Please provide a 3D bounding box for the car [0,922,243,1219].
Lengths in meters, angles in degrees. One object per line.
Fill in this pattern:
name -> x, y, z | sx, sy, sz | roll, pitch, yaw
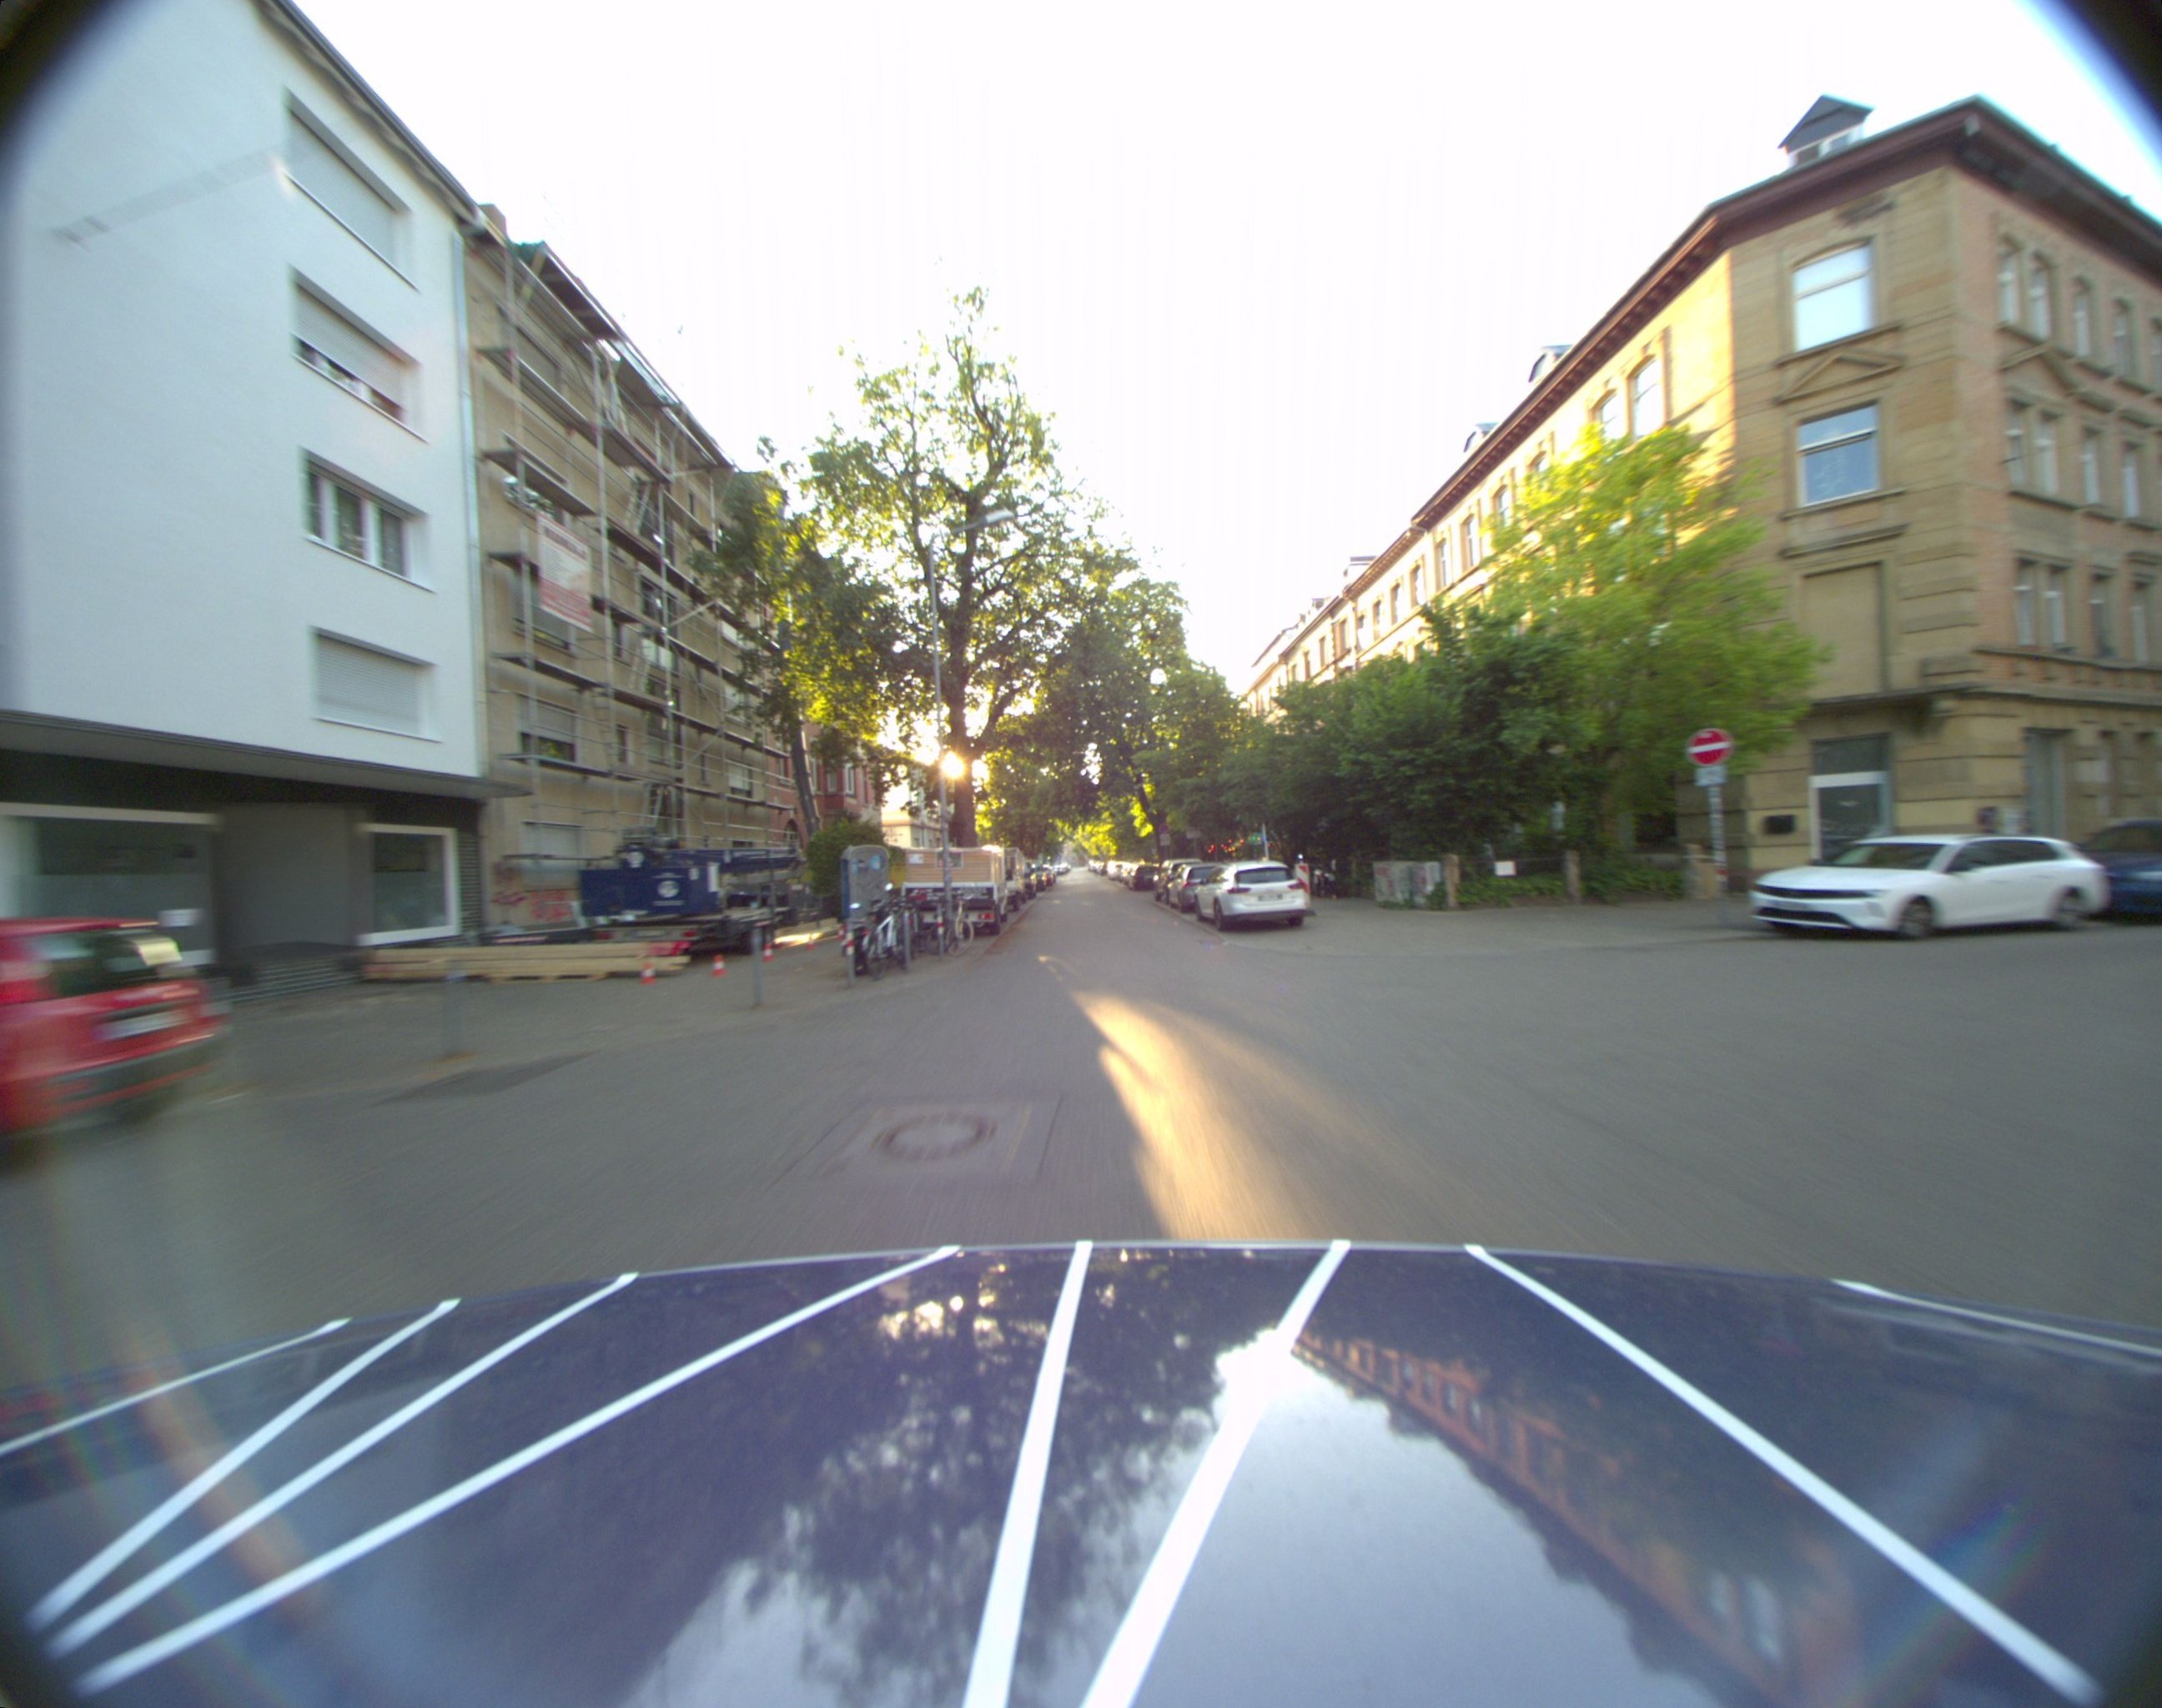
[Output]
car -> -7.782, 1.316, 4.454 | 3.481, 1.563, 1.624 | -2, -2, -19

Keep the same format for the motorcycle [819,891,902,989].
motorcycle -> -3.500, 1.318, 12.242 | 0.503, 1.348, 2.063 | 0, 0, 6

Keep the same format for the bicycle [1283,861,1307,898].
bicycle -> 7.950, 0.932, 28.151 | 0.606, 1.277, 2.489 | -2, 0, 20

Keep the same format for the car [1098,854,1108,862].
car -> 4.416, 0.765, 150.752 | 1.617, 1.433, 4.104 | -4, -1, -2

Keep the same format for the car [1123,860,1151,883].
car -> 3.819, 1.177, 52.231 | 1.607, 1.427, 3.886 | -5, -1, 1

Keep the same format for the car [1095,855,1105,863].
car -> 3.573, 1.030, 144.998 | 1.617, 1.433, 4.104 | -4, -1, -2

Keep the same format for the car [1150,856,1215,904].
car -> 3.737, 0.939, 28.740 | 1.694, 1.554, 4.402 | -5, -1, -1

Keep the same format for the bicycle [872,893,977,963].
bicycle -> -2.935, 1.384, 14.329 | 1.908, 1.251, 0.407 | 0, 0, -6

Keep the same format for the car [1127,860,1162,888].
car -> 3.604, 1.142, 43.444 | 1.555, 1.476, 3.694 | -2, -1, -2

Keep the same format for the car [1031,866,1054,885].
car -> -2.995, 1.648, 58.703 | 1.669, 1.491, 3.693 | 0, -1, -3

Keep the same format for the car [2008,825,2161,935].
car -> 17.534, 0.327, 12.156 | 4.107, 1.543, 1.707 | -2, 2, -11

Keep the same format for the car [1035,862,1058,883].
car -> -2.886, 1.533, 63.402 | 1.669, 1.668, 4.118 | 0, -1, -6

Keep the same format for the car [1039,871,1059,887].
car -> -3.065, 2.384, 73.303 | 1.735, 1.547, 3.963 | 0, -1, 1

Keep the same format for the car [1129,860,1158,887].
car -> 3.896, 1.195, 47.965 | 1.555, 1.476, 3.695 | -5, -1, 2

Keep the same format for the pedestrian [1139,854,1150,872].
pedestrian -> 6.569, 0.959, 78.368 | 0.688, 1.824, 1.007 | -2, 0, -26

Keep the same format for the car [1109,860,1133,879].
car -> 3.489, 1.320, 66.697 | 1.668, 1.484, 3.710 | -5, -1, -1

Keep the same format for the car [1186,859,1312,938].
car -> 3.795, 0.956, 18.018 | 1.694, 1.493, 4.738 | -5, -1, -2

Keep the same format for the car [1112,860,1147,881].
car -> 3.737, 1.297, 59.296 | 1.845, 1.403, 4.599 | -5, -1, -6

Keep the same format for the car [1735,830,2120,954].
car -> 12.633, 0.524, 11.448 | 4.467, 1.542, 1.708 | -2, -1, -10

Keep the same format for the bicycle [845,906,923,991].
bicycle -> -3.056, 1.433, 11.998 | 0.406, 1.103, 2.156 | 0, 0, 7

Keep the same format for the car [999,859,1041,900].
car -> -3.036, 1.254, 38.354 | 1.844, 1.931, 4.614 | 0, -1, -1

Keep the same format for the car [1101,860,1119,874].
car -> 3.684, 1.689, 96.682 | 1.871, 1.677, 4.592 | -3, -1, -1

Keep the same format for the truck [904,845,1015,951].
truck -> -2.936, 0.969, 19.896 | 1.982, 2.231, 6.775 | -2, 0, -2

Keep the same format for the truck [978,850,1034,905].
truck -> -3.210, 0.997, 33.401 | 1.959, 2.233, 4.646 | 0, -1, 1

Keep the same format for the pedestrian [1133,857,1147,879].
pedestrian -> 5.540, 1.310, 71.522 | 0.869, 2.002, 1.008 | -2, 0, -20

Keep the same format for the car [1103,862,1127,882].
car -> 3.104, 1.650, 70.440 | 1.669, 1.667, 3.846 | -5, -1, -4

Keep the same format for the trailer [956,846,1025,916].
trailer -> -3.106, 0.900, 26.982 | 1.959, 2.282, 4.645 | 0, -1, 0

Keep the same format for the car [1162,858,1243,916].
car -> 3.724, 0.965, 24.033 | 1.694, 1.493, 4.402 | -5, 0, -1

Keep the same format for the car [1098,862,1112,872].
car -> 3.539, 1.954, 113.167 | 1.617, 1.433, 3.754 | -5, -1, -3

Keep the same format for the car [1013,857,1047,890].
car -> -3.236, 1.229, 49.124 | 1.959, 2.046, 4.830 | 0, -1, -2

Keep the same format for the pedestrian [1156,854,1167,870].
pedestrian -> 8.075, 0.799, 76.266 | 0.688, 1.621, 1.051 | -2, 0, -26
